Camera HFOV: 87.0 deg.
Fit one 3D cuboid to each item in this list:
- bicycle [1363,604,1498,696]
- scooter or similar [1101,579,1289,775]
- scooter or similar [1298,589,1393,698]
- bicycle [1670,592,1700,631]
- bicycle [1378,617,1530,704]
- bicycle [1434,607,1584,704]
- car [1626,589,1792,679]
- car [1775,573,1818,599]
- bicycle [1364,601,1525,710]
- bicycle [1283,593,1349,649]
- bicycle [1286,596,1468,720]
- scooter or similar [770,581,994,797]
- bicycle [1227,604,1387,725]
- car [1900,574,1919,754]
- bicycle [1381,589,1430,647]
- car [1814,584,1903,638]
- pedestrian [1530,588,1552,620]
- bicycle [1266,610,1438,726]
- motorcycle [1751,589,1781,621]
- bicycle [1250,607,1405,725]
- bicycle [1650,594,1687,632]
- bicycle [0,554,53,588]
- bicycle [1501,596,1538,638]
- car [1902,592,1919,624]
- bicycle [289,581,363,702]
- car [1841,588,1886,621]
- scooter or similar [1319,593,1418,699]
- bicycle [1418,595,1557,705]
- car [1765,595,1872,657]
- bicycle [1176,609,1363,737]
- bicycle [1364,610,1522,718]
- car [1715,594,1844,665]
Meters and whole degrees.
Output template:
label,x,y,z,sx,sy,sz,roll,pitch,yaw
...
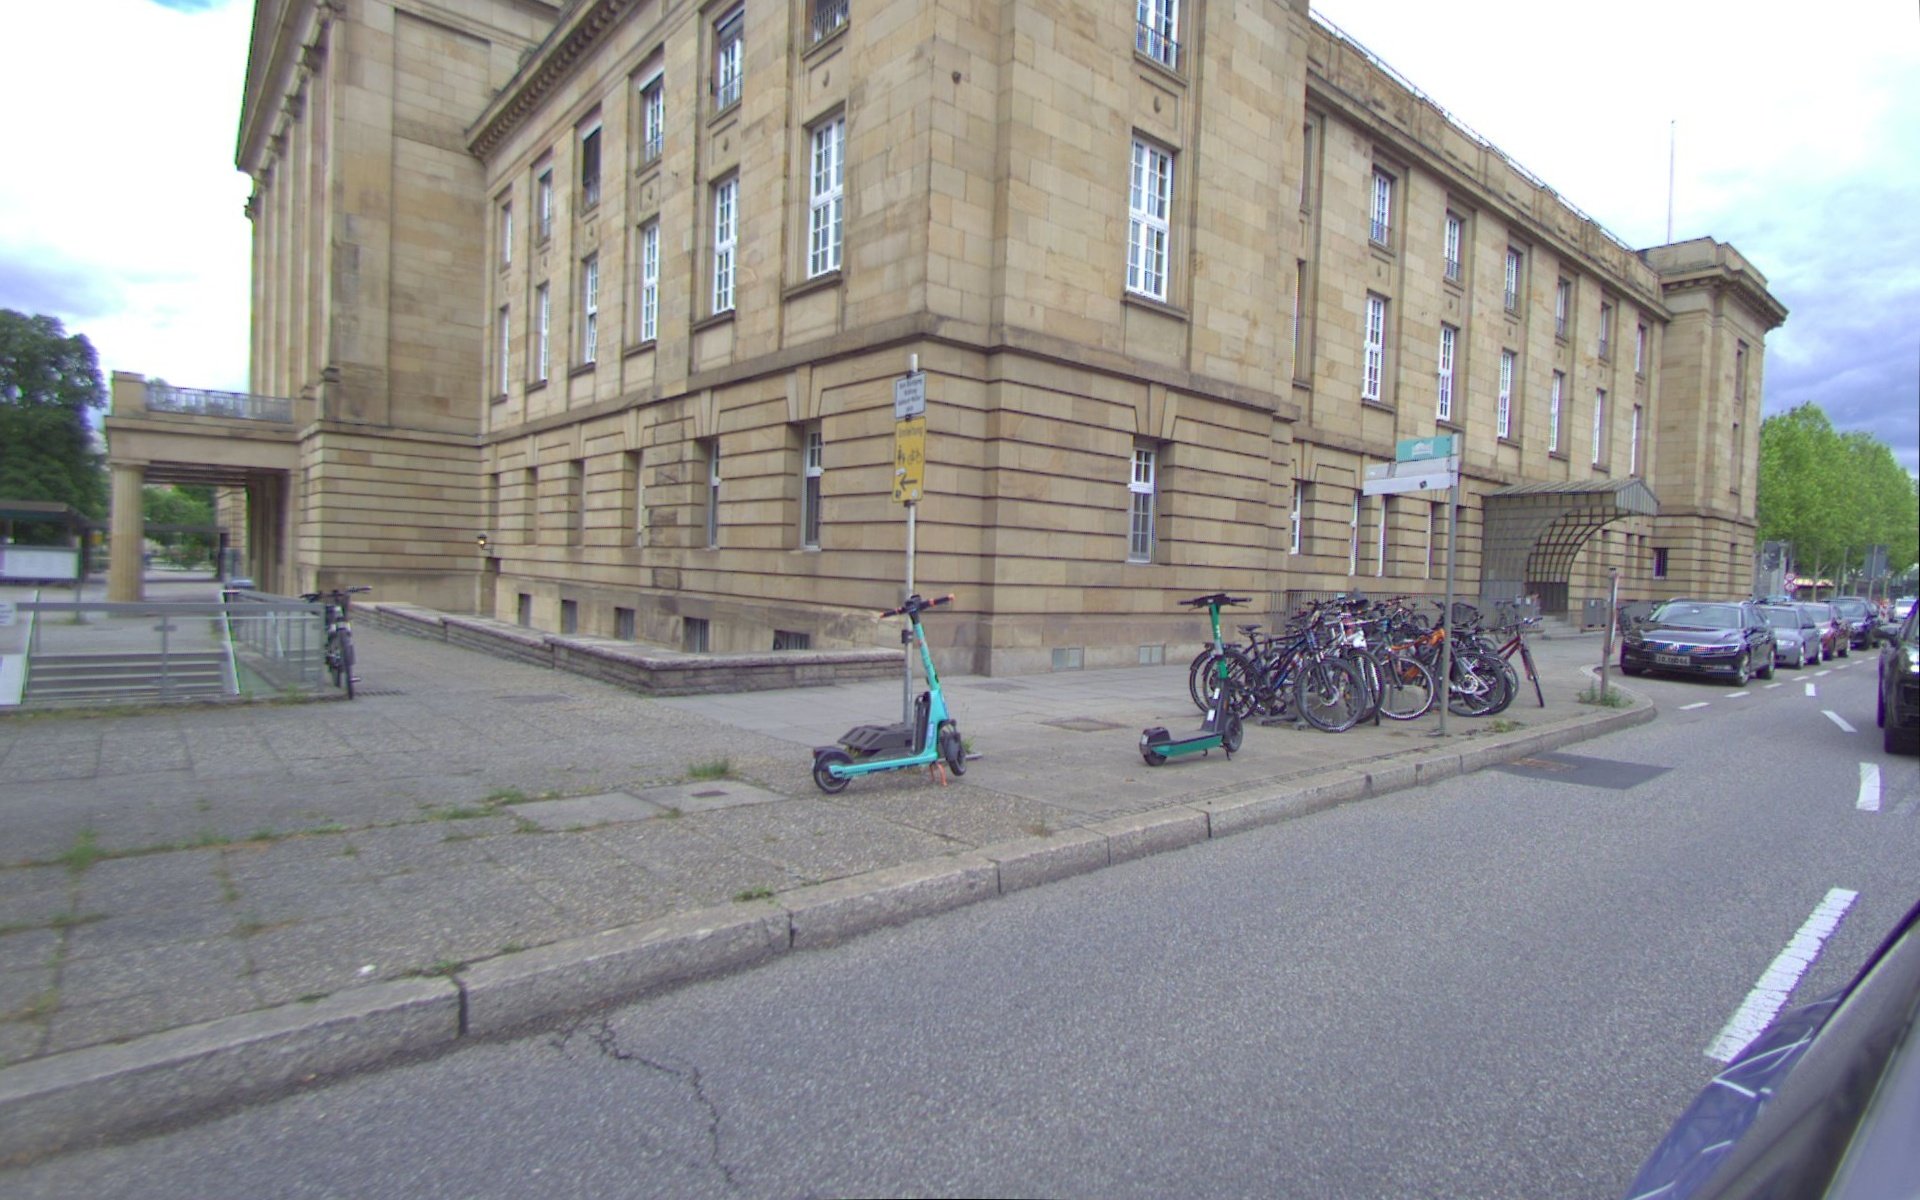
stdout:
label,x,y,z,sx,sy,sz,roll,pitch,yaw
bicycle,5.806,0.590,12.575,0.427,1.041,1.570,1,0,-29
scooter or similar,1.808,0.521,7.701,1.389,1.348,0.726,0,1,-42
scooter or similar,4.806,0.521,12.600,1.126,1.294,0.564,1,0,-35
bicycle,25.068,0.388,34.968,1.759,1.304,0.413,0,2,-41
bicycle,6.116,0.715,12.636,0.601,0.928,1.738,1,2,-22
bicycle,6.863,0.662,12.739,0.573,1.087,1.672,1,1,-21
car,14.077,0.549,18.936,4.253,1.505,1.790,0,0,-43
car,50.342,-0.840,60.902,3.445,1.549,1.582,0,1,-43
bicycle,5.413,0.594,11.381,1.597,1.144,0.405,1,0,24
bicycle,6.713,0.379,19.028,1.929,1.010,0.240,0,2,-42
bicycle,4.534,0.586,11.105,0.594,1.224,1.759,1,0,-43
scooter or similar,-0.490,0.531,6.608,1.405,1.296,0.433,0,0,-30
bicycle,3.501,0.611,10.363,0.417,1.105,1.736,1,0,-27
car,11.021,0.629,10.317,4.132,1.678,1.904,0,2,-45
bicycle,9.504,0.361,21.575,1.510,1.197,0.276,0,0,-39
car,28.771,0.345,32.386,3.642,1.571,1.549,0,2,-40
pedestrian,16.141,0.101,28.138,0.366,0.884,0.430,0,0,-40
bicycle,4.155,0.678,10.856,0.563,1.105,1.735,1,0,-32
motorcycle,32.790,0.183,41.172,1.887,1.257,0.456,0,3,-38
bicycle,3.816,0.642,10.648,0.373,1.105,1.736,1,0,-27
bicycle,23.653,0.419,33.776,1.882,1.232,0.556,0,2,-41
bicycle,-40.729,-1.228,43.284,2.852,1.443,0.959,-1,0,-45
bicycle,14.245,0.419,25.751,1.827,1.042,0.222,0,0,-42
car,64.401,0.538,67.526,3.933,2.038,1.996,0,2,-43
bicycle,-6.804,0.394,10.819,0.382,1.139,2.015,0,2,-40
car,51.845,0.262,58.048,1.805,1.760,4.414,2,0,44
scooter or similar,4.995,0.532,12.364,1.286,1.239,0.427,0,0,-31
bicycle,6.527,0.578,12.592,0.532,1.272,1.550,1,0,-22
car,23.133,0.648,27.226,3.792,1.473,1.619,0,3,-42
bicycle,3.019,0.663,10.075,0.652,1.105,1.866,1,0,-27
bicycle,5.511,0.705,11.624,1.597,1.144,0.466,1,0,24
car,19.206,0.621,23.654,3.928,1.443,1.711,0,3,-42
